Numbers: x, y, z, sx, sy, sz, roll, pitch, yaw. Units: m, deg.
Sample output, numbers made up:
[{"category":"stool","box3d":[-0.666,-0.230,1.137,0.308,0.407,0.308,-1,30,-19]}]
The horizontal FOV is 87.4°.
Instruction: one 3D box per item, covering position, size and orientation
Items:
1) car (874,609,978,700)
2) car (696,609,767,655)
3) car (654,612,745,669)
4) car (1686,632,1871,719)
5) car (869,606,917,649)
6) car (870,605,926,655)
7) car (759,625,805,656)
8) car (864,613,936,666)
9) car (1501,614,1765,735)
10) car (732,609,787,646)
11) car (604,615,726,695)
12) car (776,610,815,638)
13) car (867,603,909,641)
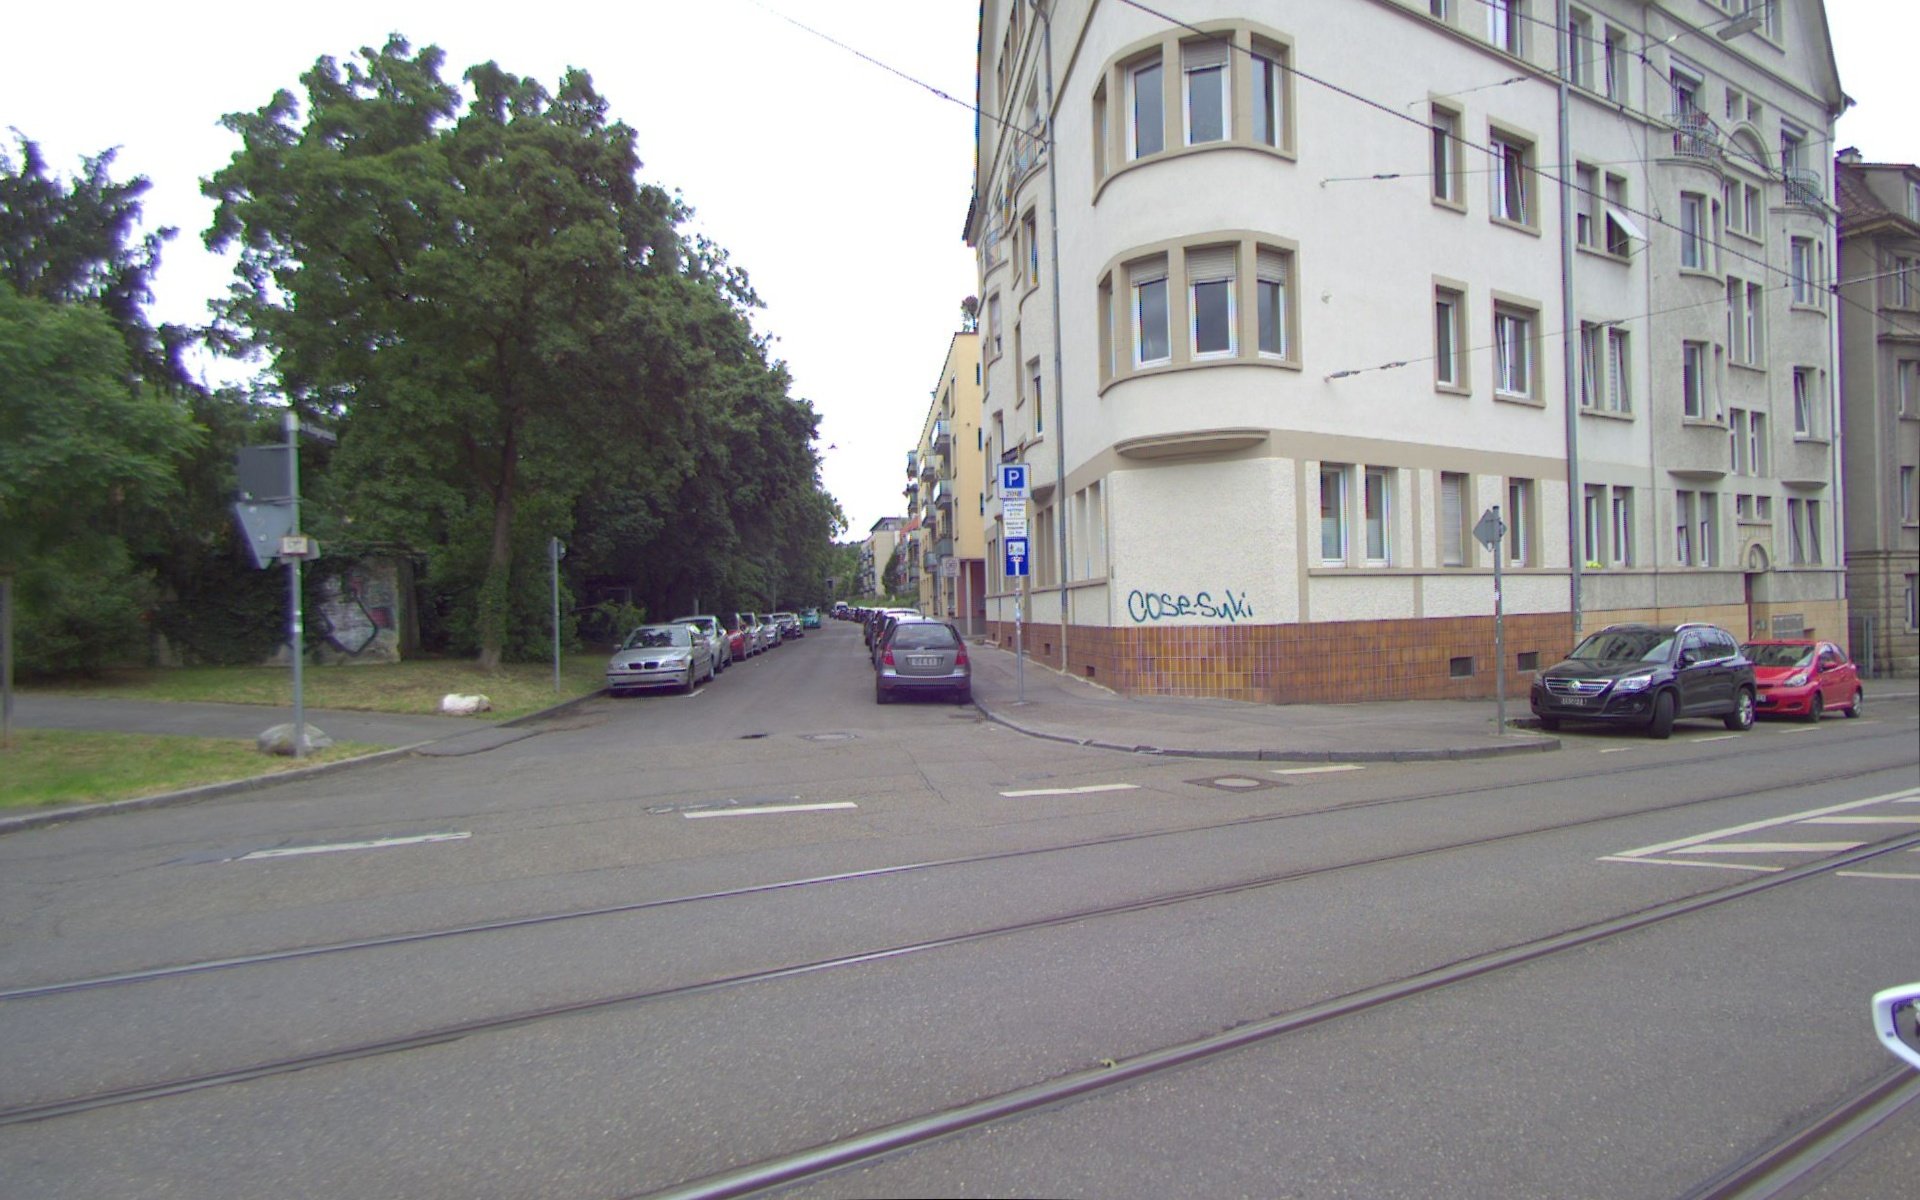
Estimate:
[{"category":"car","box3d":[-0.740,1.010,19.806,1.840,1.592,3.998,0,-1,-4]},{"category":"car","box3d":[-7.582,1.067,33.632,1.727,1.438,3.998,0,-1,-4]},{"category":"car","box3d":[-7.062,1.083,27.560,1.727,1.438,3.998,0,-1,-4]},{"category":"car","box3d":[15.349,1.369,18.805,3.705,1.482,1.612,2,-3,-33]},{"category":"car","box3d":[-2.585,1.033,38.519,1.727,1.564,3.998,0,-1,-4]},{"category":"car","box3d":[-2.097,0.996,33.618,1.727,1.564,3.998,0,-1,-4]},{"category":"car","box3d":[-8.401,1.893,47.688,1.727,1.438,3.998,0,-1,-4]},{"category":"car","box3d":[-1.691,1.058,27.926,1.840,1.372,3.998,0,-1,-4]},{"category":"car","box3d":[10.621,1.122,15.780,4.354,1.667,1.857,2,-3,-33]},{"category":"car","box3d":[-8.160,1.114,41.137,1.727,1.438,3.998,0,-1,-4]},{"category":"car","box3d":[-6.310,1.109,21.895,1.727,1.459,3.997,-1,1,-4]},{"category":"car","box3d":[-8.798,1.288,53.959,1.727,1.438,3.998,0,-1,-4]},{"category":"car","box3d":[-3.102,0.934,43.164,1.727,1.564,3.998,0,-1,-4]}]
